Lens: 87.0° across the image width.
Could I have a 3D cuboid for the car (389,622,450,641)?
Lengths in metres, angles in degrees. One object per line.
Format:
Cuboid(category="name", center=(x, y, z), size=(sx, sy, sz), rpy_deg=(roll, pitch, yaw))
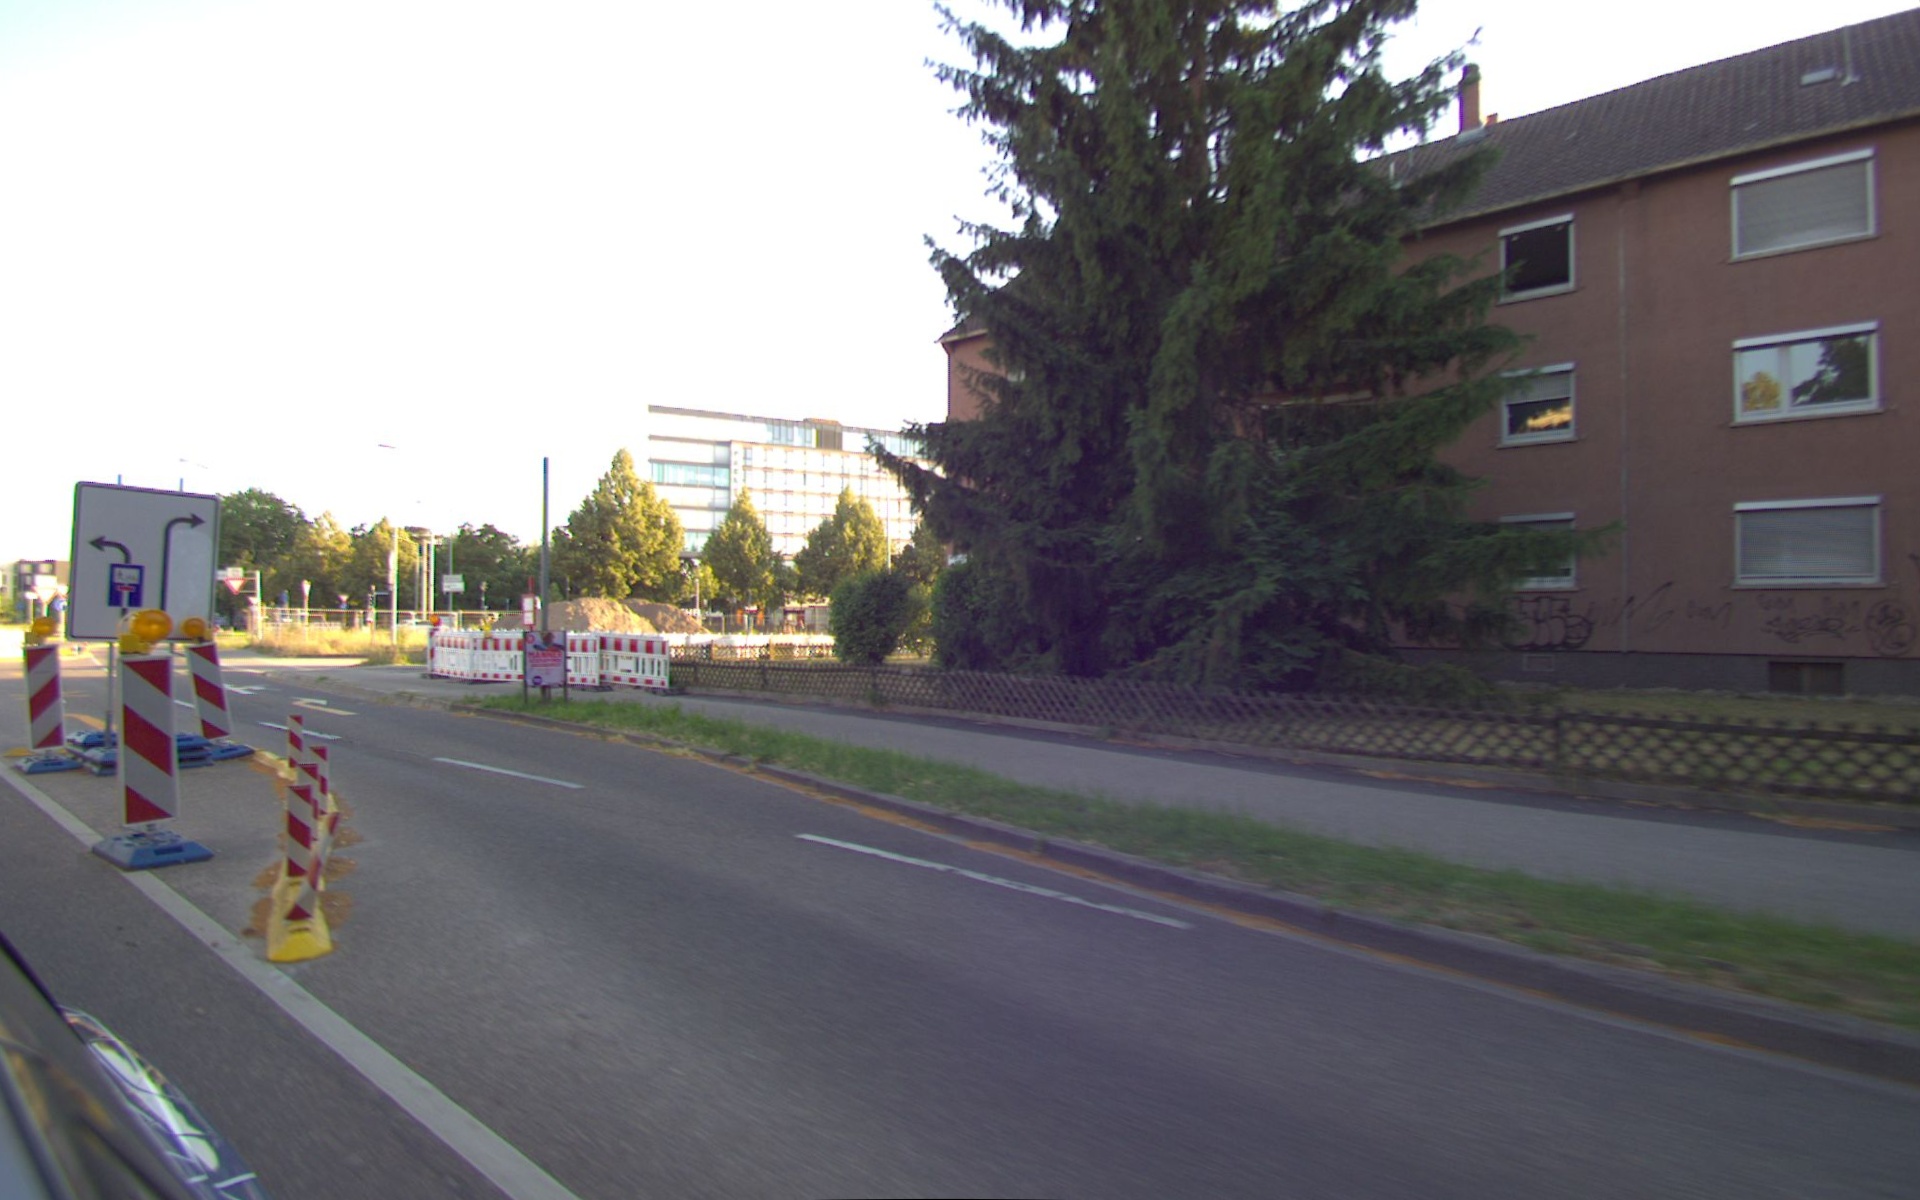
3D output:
Cuboid(category="car", center=(-42.790, 2.494, 80.228), size=(1.630, 1.475, 3.948), rpy_deg=(-1, -1, 38))
